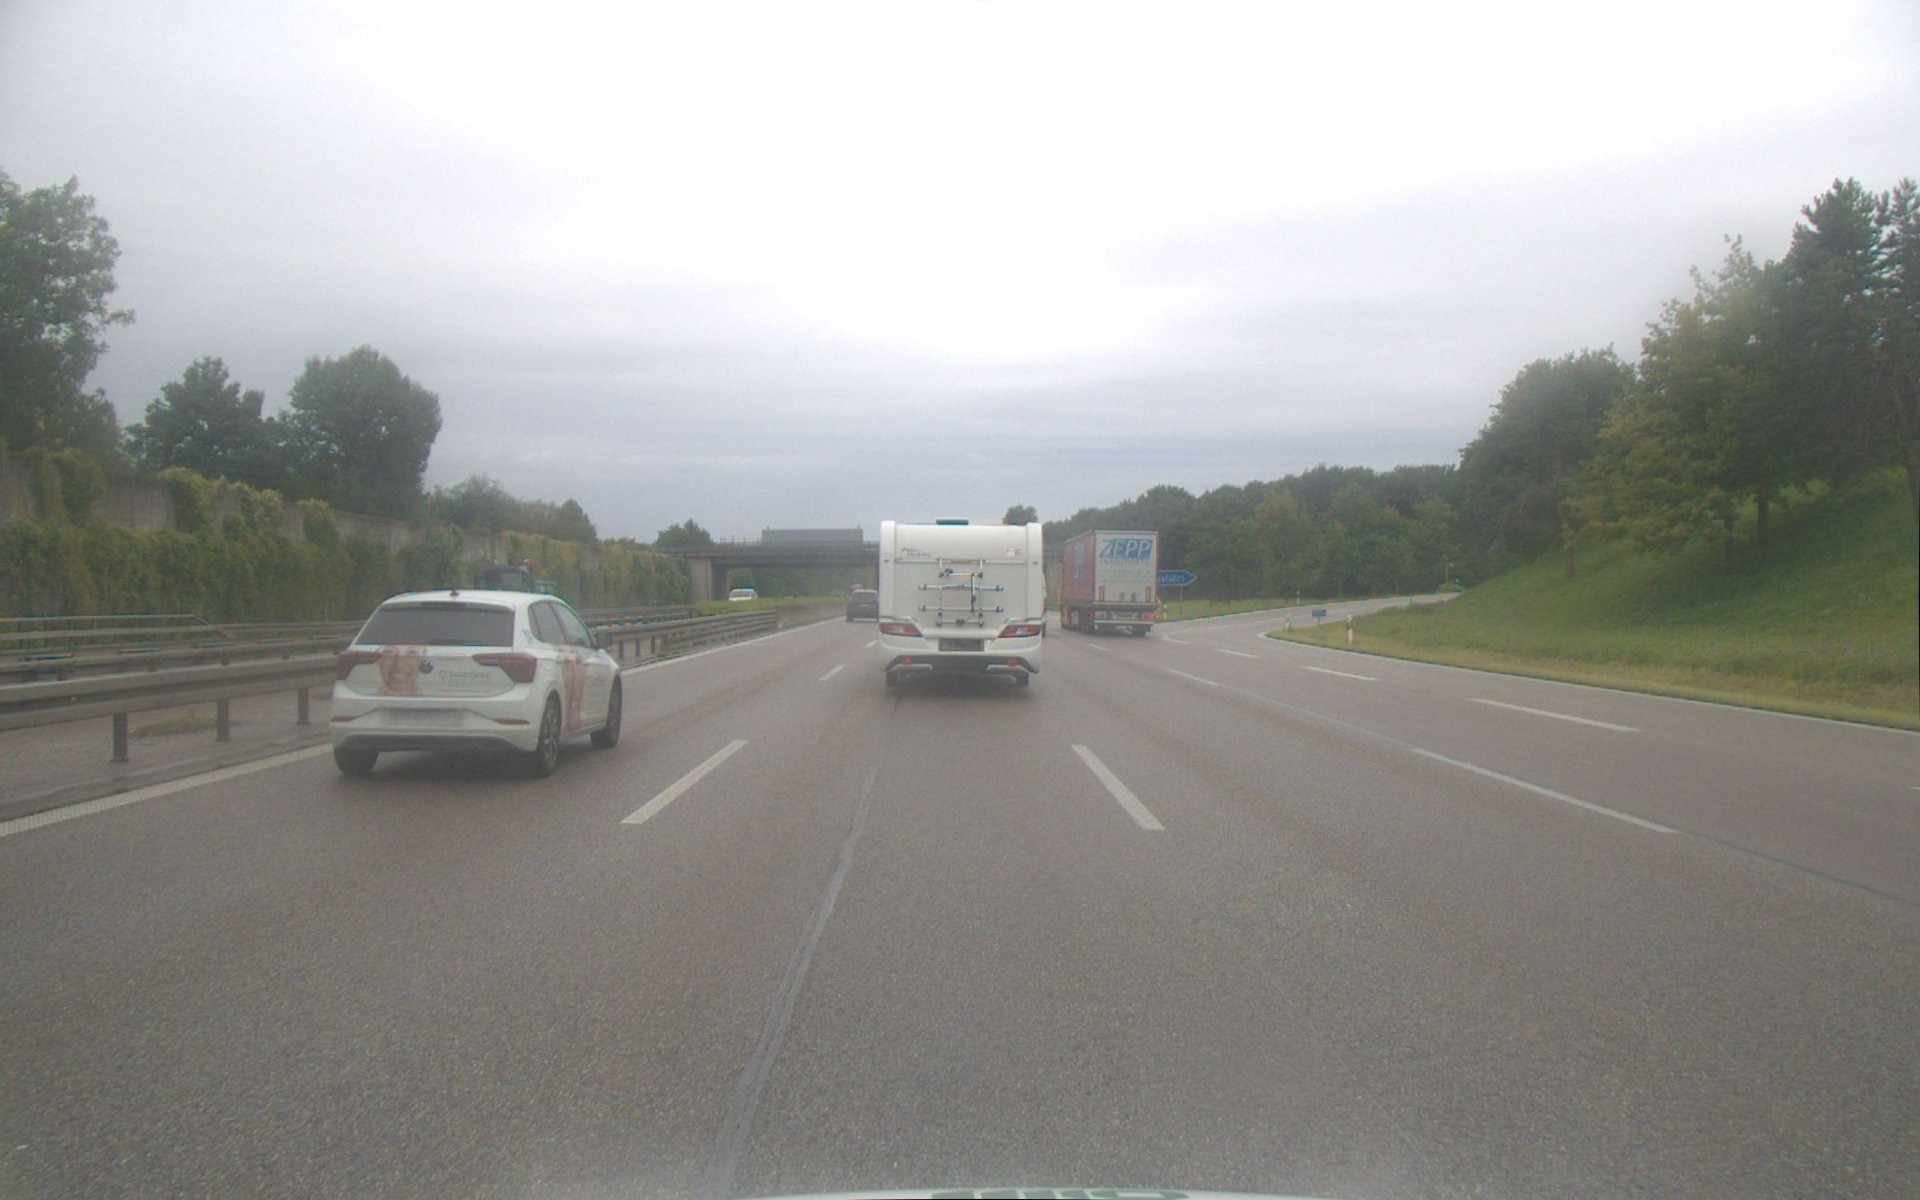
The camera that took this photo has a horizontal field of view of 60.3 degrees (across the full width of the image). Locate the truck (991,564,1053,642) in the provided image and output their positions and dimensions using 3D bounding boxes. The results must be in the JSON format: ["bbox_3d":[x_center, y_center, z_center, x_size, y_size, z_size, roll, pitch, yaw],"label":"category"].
[{"bbox_3d":[2.319,0.113,63.080,2.011,2.818,5.547,1,0,-1],"label":"truck"}]

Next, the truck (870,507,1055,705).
[{"bbox_3d":[-0.019,0.088,26.321,2.607,2.790,5.076,1,0,-1],"label":"truck"}]

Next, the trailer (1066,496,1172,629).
[{"bbox_3d":[6.449,-1.412,68.862,3.037,5.008,11.788,1,0,-1],"label":"trailer"}]

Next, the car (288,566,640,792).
[{"bbox_3d":[-4.058,0.563,14.371,1.717,1.646,4.663,0,0,-1],"label":"car"}]

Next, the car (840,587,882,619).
[{"bbox_3d":[-5.213,0.149,87.578,1.953,1.628,5.122,1,0,-1],"label":"car"}]

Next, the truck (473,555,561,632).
[{"bbox_3d":[-23.473,-0.314,88.088,2.637,3.843,8.334,1,0,-2],"label":"truck"}]

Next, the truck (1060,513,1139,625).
[{"bbox_3d":[6.344,-1.358,76.077,2.986,4.924,5.849,1,0,-1],"label":"truck"}]

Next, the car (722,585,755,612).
[{"bbox_3d":[-17.515,-0.125,130.740,2.038,2.049,5.193,0,0,-2],"label":"car"}]
